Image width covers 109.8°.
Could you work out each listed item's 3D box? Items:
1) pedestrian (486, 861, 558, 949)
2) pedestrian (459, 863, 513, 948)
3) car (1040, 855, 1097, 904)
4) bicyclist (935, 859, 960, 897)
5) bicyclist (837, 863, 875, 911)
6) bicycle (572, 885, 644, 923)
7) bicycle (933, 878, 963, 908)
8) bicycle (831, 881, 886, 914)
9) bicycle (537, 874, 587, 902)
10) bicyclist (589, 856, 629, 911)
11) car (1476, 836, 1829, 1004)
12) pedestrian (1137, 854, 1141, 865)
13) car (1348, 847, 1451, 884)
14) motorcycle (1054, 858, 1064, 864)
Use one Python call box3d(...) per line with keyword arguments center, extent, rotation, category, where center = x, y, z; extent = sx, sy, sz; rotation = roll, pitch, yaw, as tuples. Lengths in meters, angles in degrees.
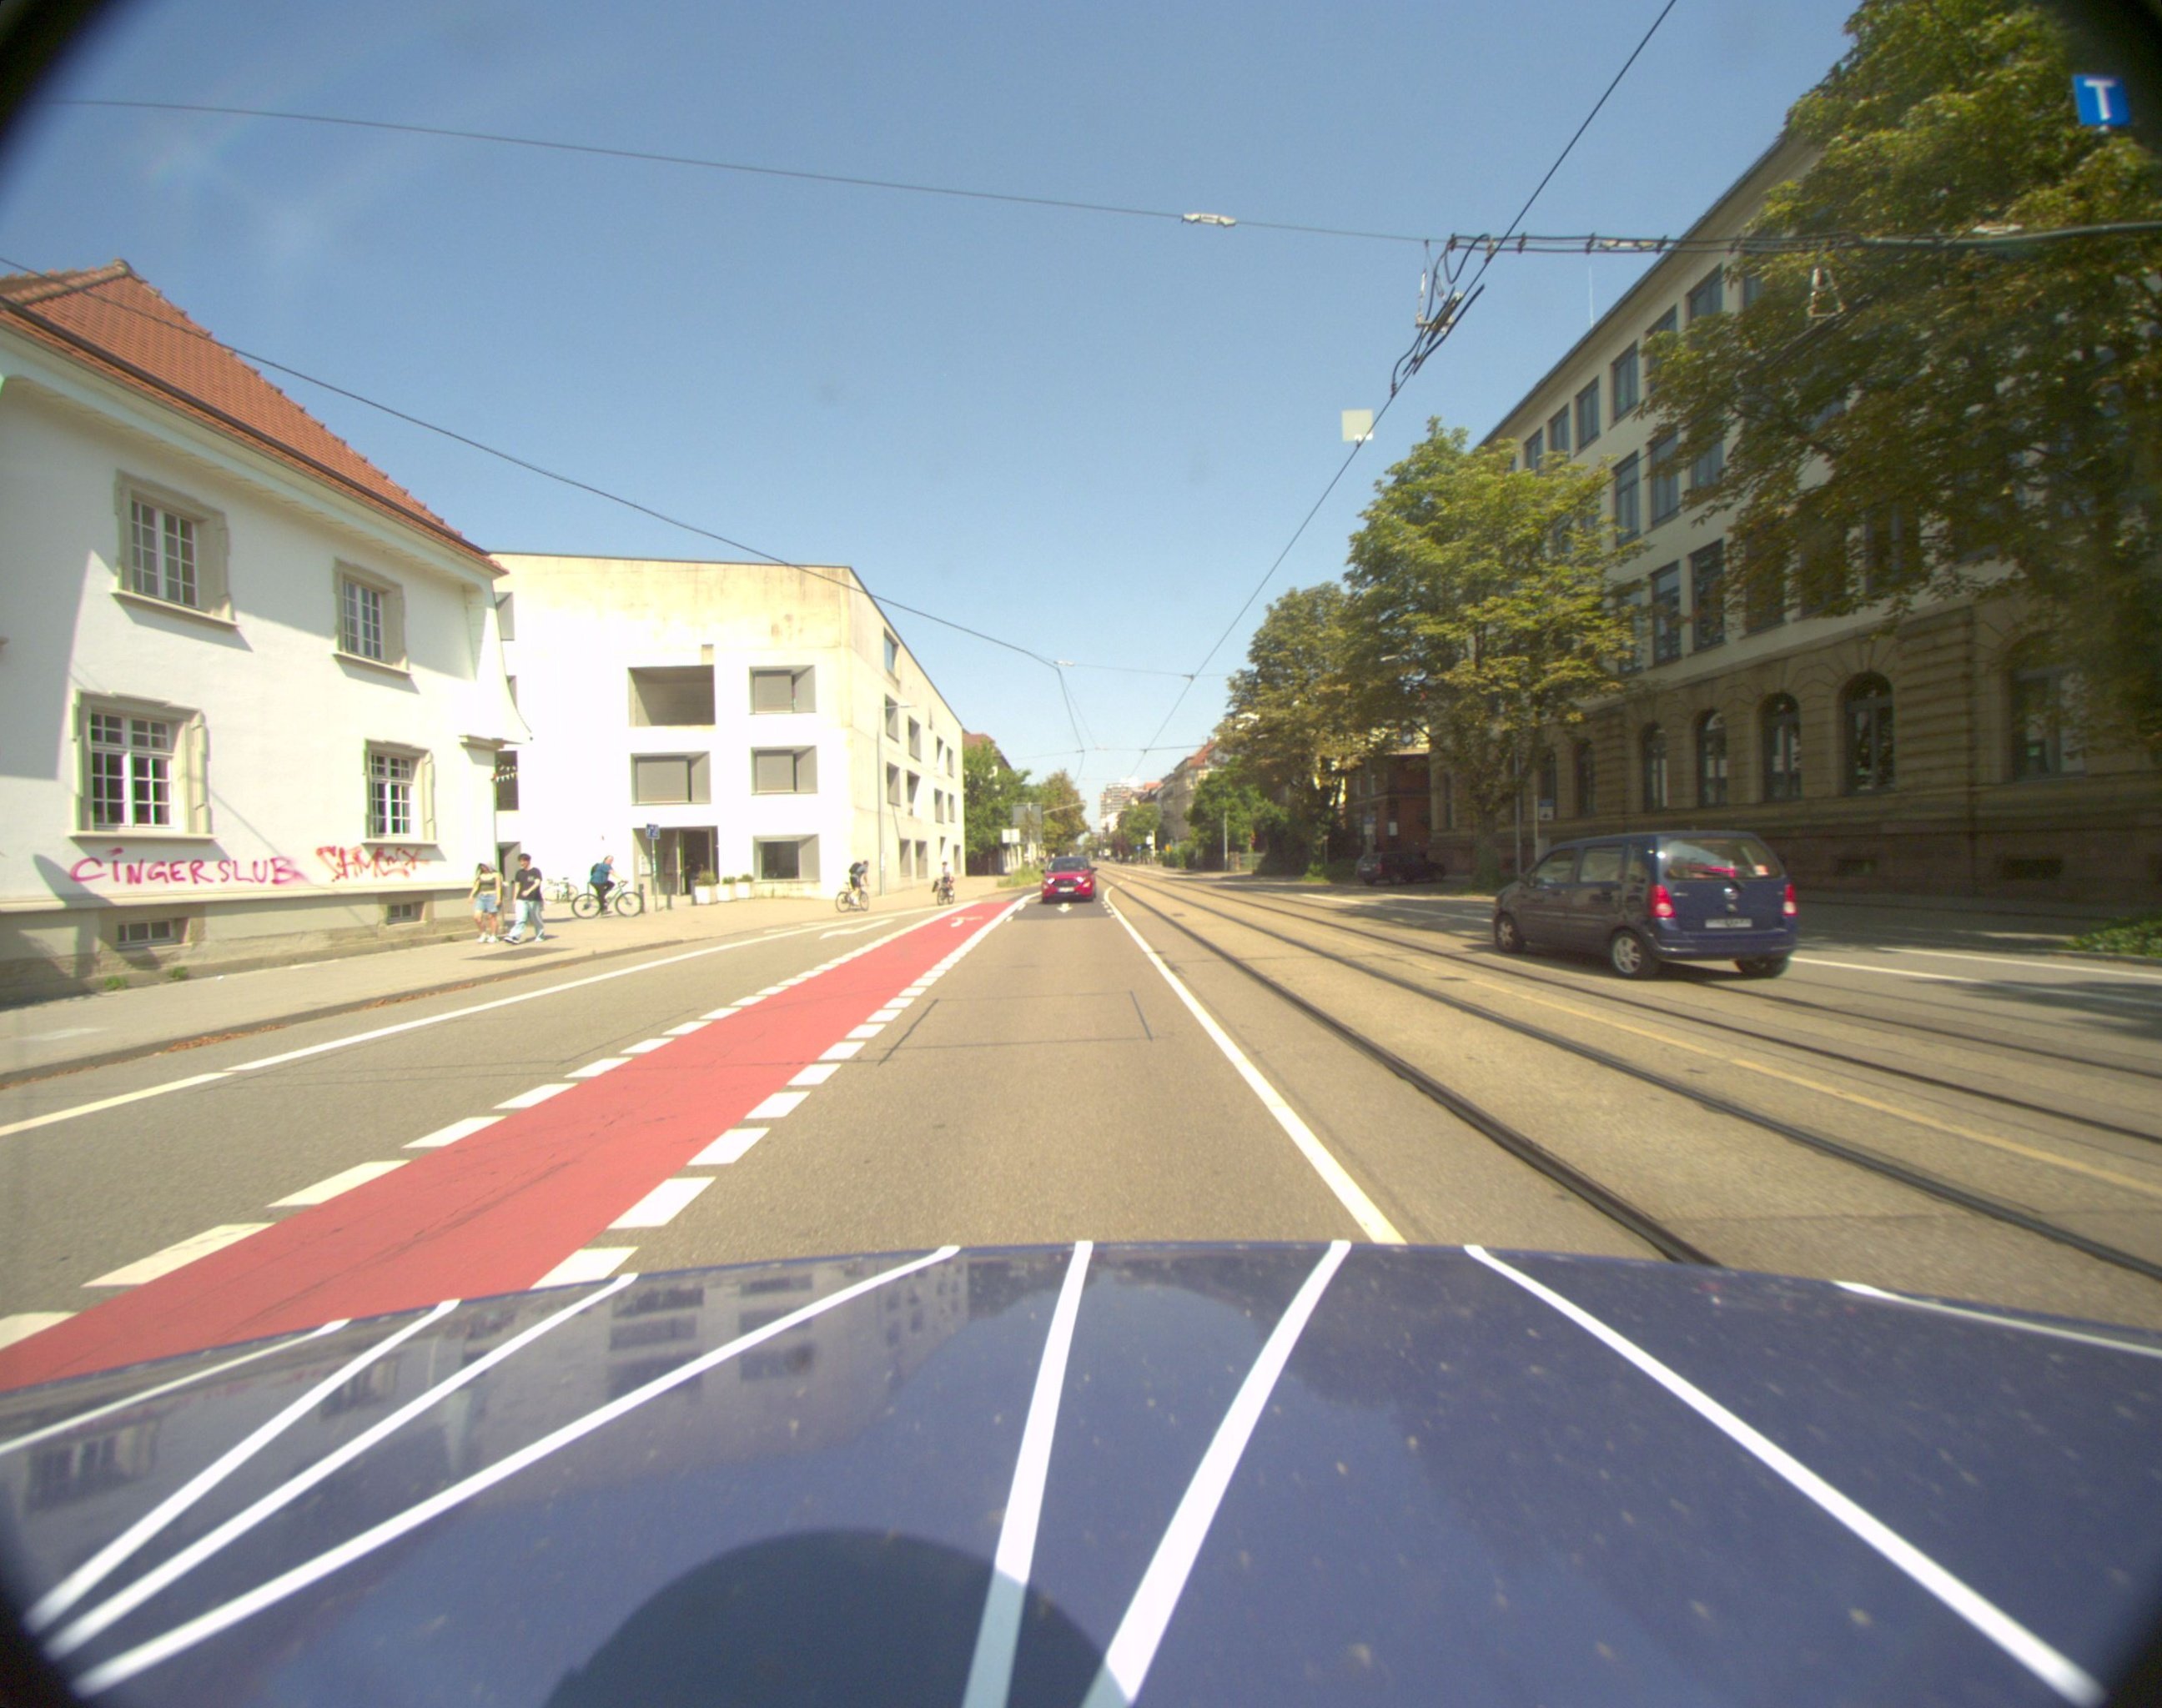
box3d(center=(-11.072, 0.986, 15.074), extent=(0.729, 1.656, 0.879), rotation=(-2, 0, -3), category="pedestrian")
box3d(center=(-11.854, 1.015, 15.148), extent=(0.620, 1.656, 0.487), rotation=(-2, 0, -1), category="pedestrian")
box3d(center=(-0.395, 0.851, 26.910), extent=(1.816, 1.542, 4.021), rotation=(-2, 0, 1), category="car")
box3d(center=(-5.106, 0.916, 29.055), extent=(0.747, 1.403, 0.962), rotation=(-2, 0, 0), category="bicyclist")
box3d(center=(-7.627, 1.115, 25.767), extent=(0.626, 1.589, 0.995), rotation=(2, 0, 42), category="bicyclist")
box3d(center=(-13.337, 1.390, 21.487), extent=(1.714, 0.994, 0.614), rotation=(0, 0, -30), category="bicycle")
box3d(center=(-5.080, 1.470, 29.100), extent=(0.741, 1.042, 2.233), rotation=(-2, 0, 0), category="bicycle")
box3d(center=(-7.525, 1.466, 25.795), extent=(0.614, 0.994, 1.715), rotation=(-1, 0, 39), category="bicycle")
box3d(center=(-20.111, 1.313, 29.485), extent=(0.619, 0.949, 1.685), rotation=(-1, 2, 6), category="bicycle")
box3d(center=(-13.326, 0.825, 21.478), extent=(0.905, 1.530, 0.627), rotation=(1, 0, -30), category="bicyclist")
box3d(center=(6.750, 0.668, 9.523), extent=(1.695, 1.645, 3.580), rotation=(-2, 0, 0), category="car")
box3d(center=(10.538, 1.061, 137.646), extent=(0.657, 2.002, 0.974), rotation=(-1, 0, -2), category="pedestrian")
box3d(center=(14.334, 0.517, 34.198), extent=(4.435, 1.453, 1.817), rotation=(-2, 0, -27), category="car")
box3d(center=(-4.266, 1.401, 148.338), extent=(2.000, 1.009, 0.796), rotation=(2, 0, -1), category="motorcycle")
